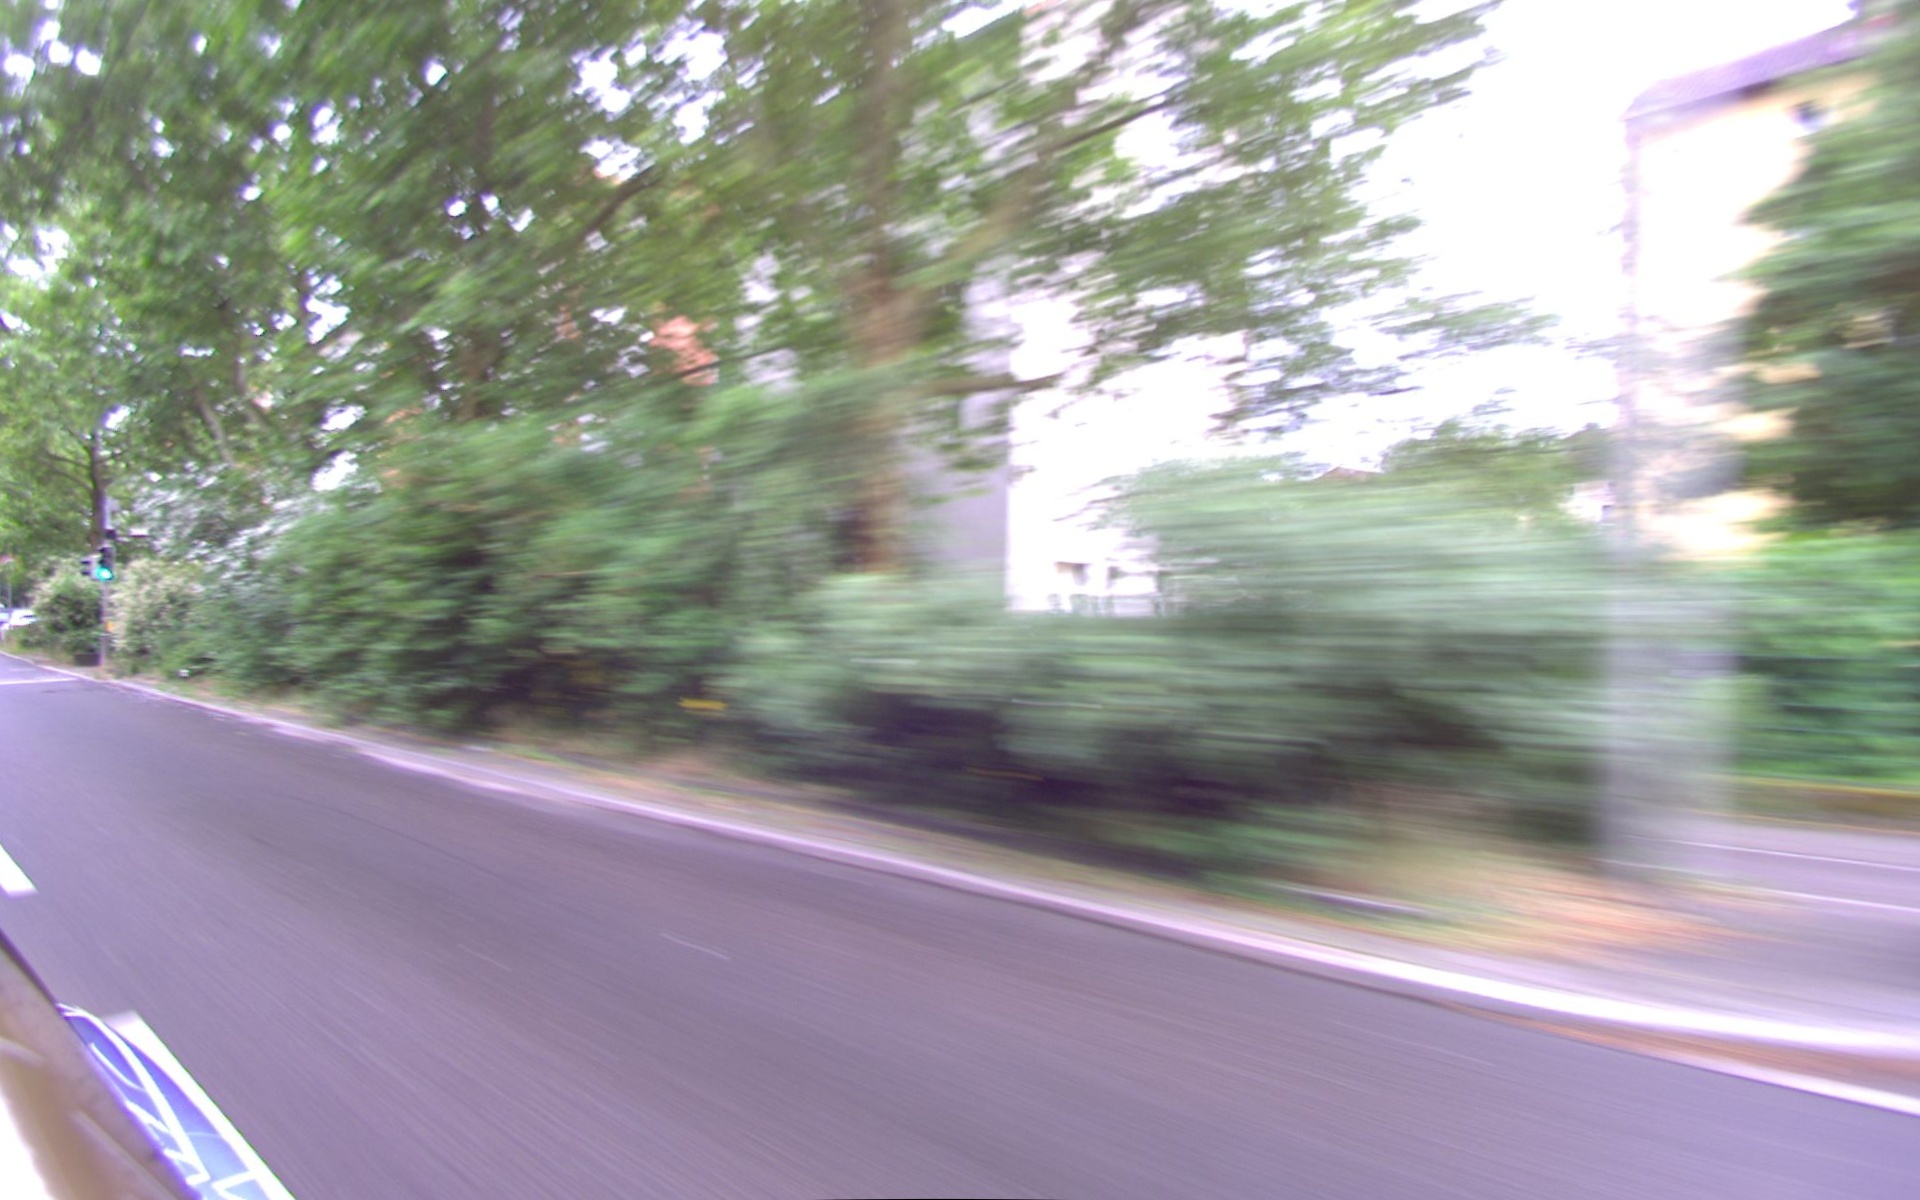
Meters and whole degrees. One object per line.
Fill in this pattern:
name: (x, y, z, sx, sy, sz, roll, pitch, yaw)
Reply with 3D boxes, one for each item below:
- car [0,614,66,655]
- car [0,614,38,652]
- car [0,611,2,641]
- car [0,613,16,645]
car: (-35.815, 1.289, 38.887, 4.308, 1.478, 1.698, 0, -1, 42)
car: (-40.620, 1.370, 42.917, 4.230, 1.478, 1.699, 0, -1, 40)
car: (-49.622, 1.306, 51.028, 3.394, 1.478, 1.540, 0, -1, 40)
car: (-45.635, 1.340, 47.329, 3.752, 1.478, 1.699, 0, -1, 40)
